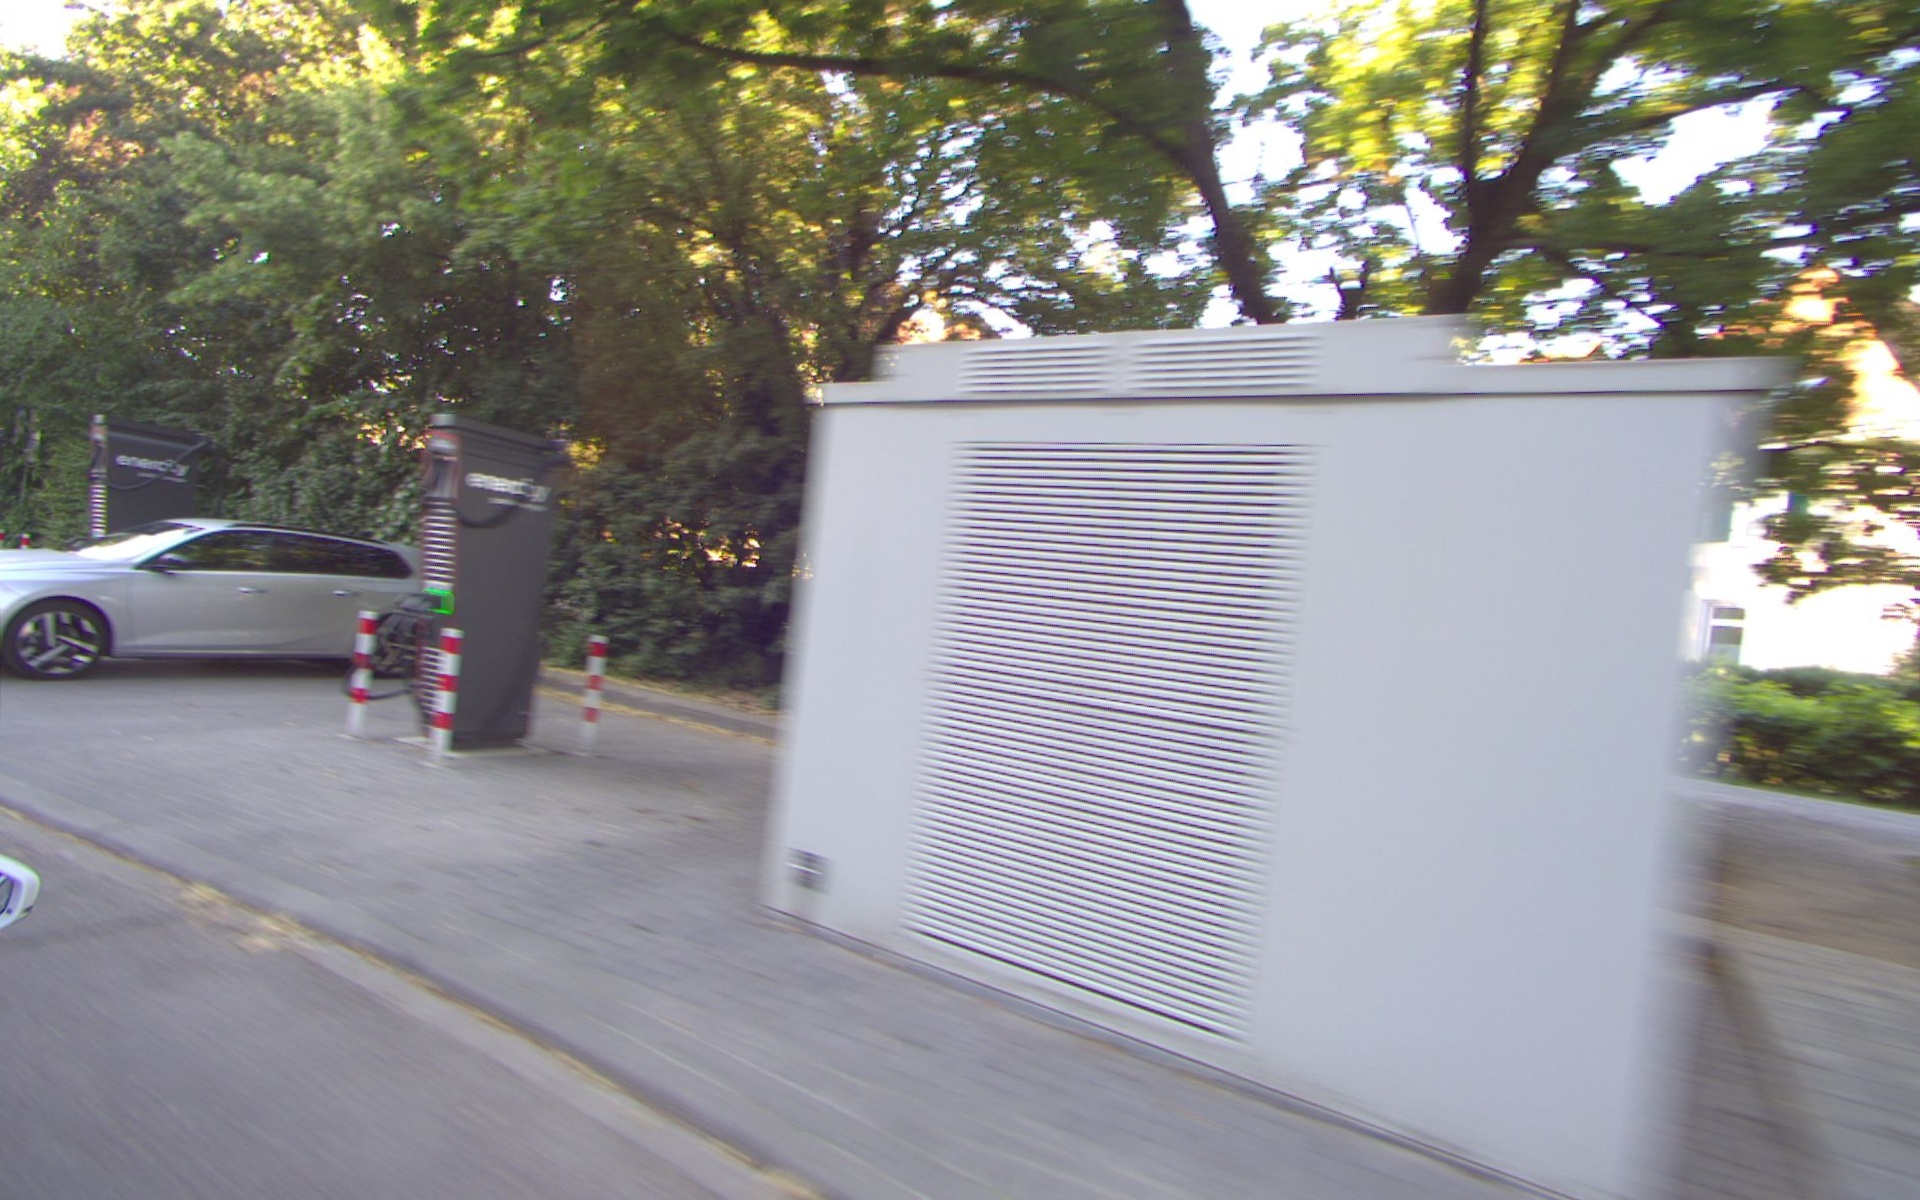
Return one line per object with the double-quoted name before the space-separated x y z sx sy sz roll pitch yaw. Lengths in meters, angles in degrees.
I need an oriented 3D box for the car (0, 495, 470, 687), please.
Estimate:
"car" -7.381 -0.055 9.735 1.752 1.487 4.446 7 0 30
